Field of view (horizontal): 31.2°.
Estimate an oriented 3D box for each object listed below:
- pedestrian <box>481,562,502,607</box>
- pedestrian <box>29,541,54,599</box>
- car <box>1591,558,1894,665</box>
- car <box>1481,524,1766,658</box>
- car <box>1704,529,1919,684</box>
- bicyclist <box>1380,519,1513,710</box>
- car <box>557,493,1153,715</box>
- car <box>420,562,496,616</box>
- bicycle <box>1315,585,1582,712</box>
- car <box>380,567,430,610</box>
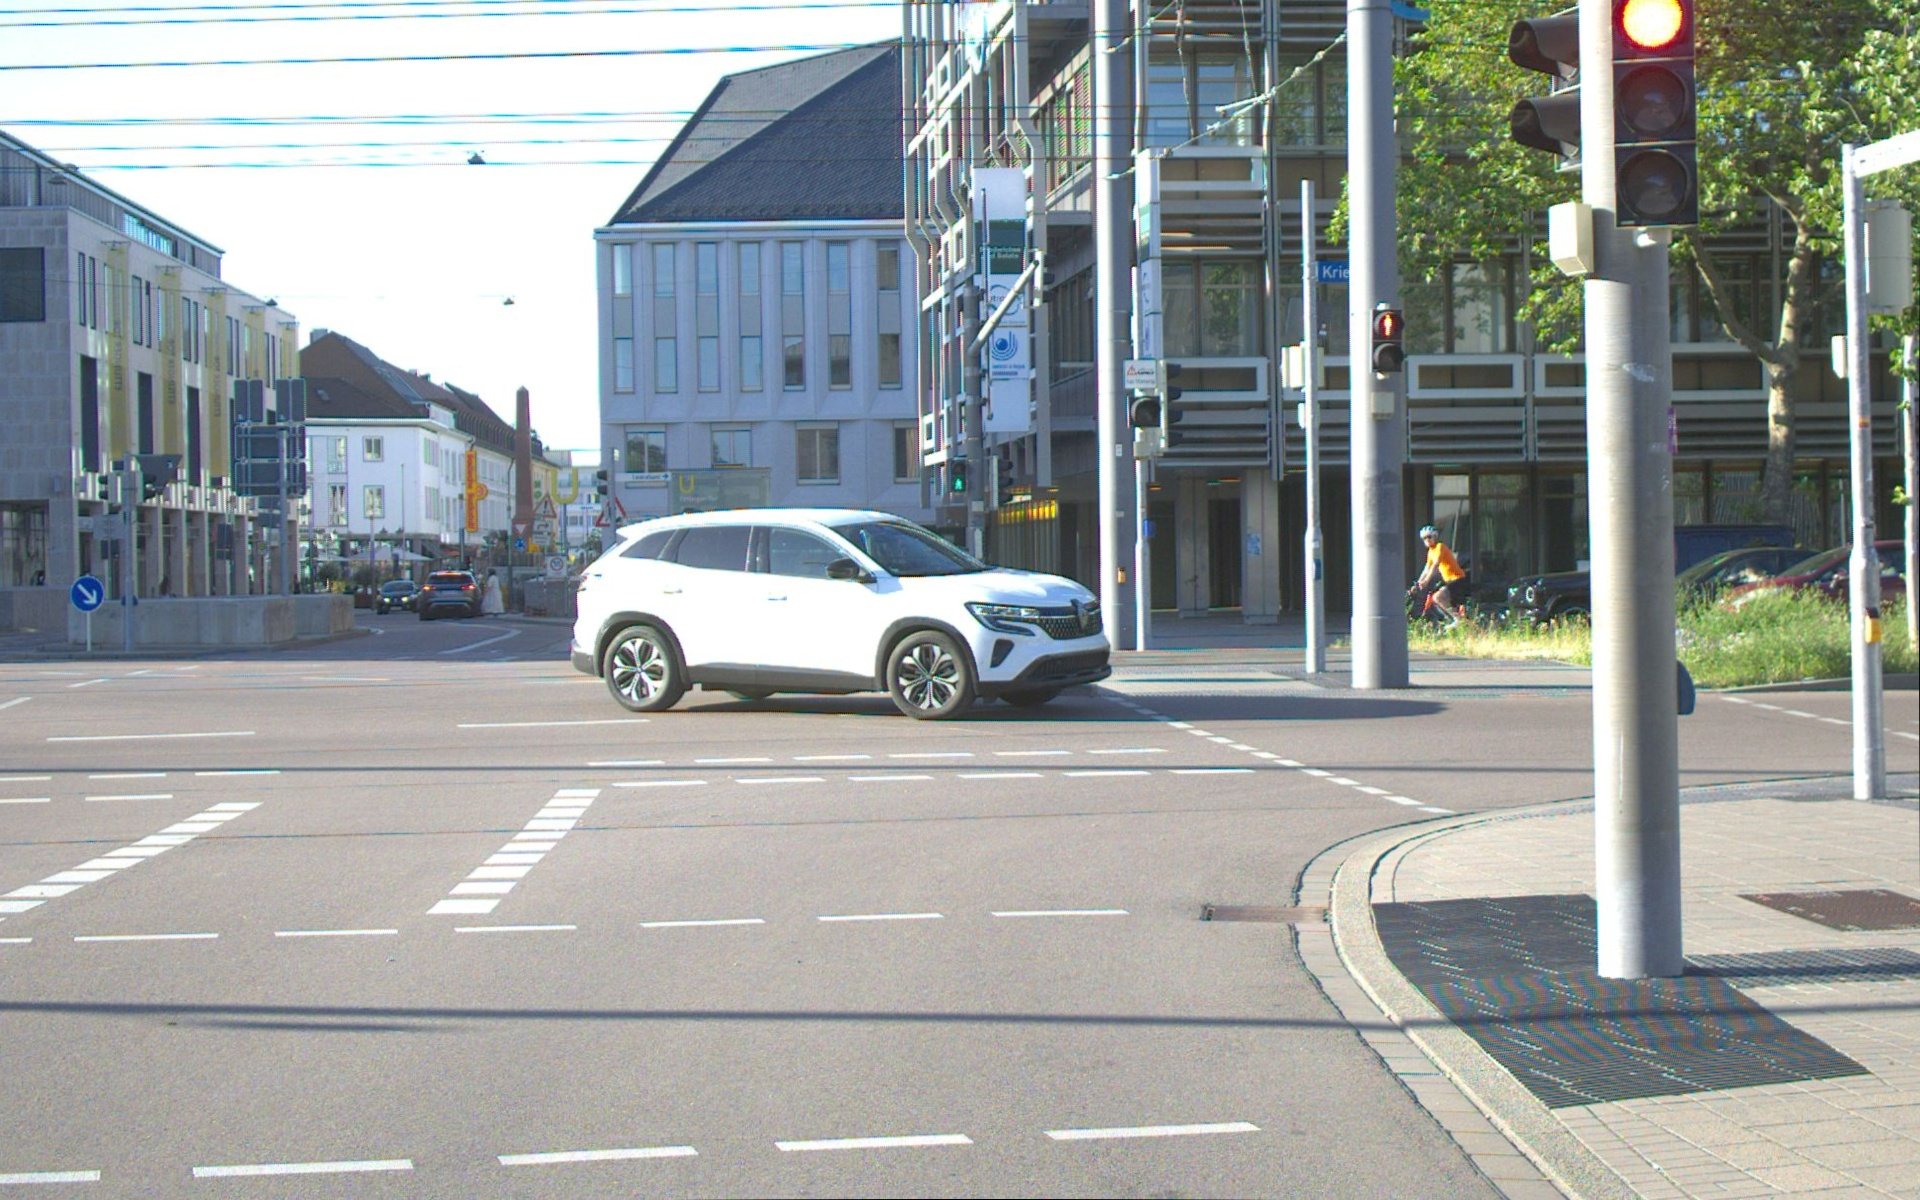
[{"bbox_3d":[-14.748,-0.484,108.224,0.609,1.406,0.570,-1,1,-6],"label":"pedestrian"},{"bbox_3d":[-31.833,-1.047,119.166,0.626,2.007,0.733,-1,1,2],"label":"pedestrian"},{"bbox_3d":[11.494,0.156,50.654,3.986,1.503,1.868,0,1,-3],"label":"car"},{"bbox_3d":[10.346,-0.145,53.771,3.986,2.007,2.000,1,0,-3],"label":"car"},{"bbox_3d":[12.288,0.086,46.403,3.986,2.007,2.000,1,0,-3],"label":"car"},{"bbox_3d":[6.662,0.188,47.134,1.567,2.571,0.932,-1,1,-9],"label":"bicyclist"},{"bbox_3d":[-0.865,0.032,27.609,4.399,1.654,1.997,0,0,30],"label":"car"},{"bbox_3d":[-15.805,-0.354,108.417,2.199,1.601,4.327,-1,1,-6],"label":"car"},{"bbox_3d":[6.693,0.648,47.140,3.490,1.653,0.932,-1,1,-9],"label":"bicycle"},{"bbox_3d":[-24.196,-0.508,149.956,1.756,1.777,4.001,-1,1,-4],"label":"car"}]
